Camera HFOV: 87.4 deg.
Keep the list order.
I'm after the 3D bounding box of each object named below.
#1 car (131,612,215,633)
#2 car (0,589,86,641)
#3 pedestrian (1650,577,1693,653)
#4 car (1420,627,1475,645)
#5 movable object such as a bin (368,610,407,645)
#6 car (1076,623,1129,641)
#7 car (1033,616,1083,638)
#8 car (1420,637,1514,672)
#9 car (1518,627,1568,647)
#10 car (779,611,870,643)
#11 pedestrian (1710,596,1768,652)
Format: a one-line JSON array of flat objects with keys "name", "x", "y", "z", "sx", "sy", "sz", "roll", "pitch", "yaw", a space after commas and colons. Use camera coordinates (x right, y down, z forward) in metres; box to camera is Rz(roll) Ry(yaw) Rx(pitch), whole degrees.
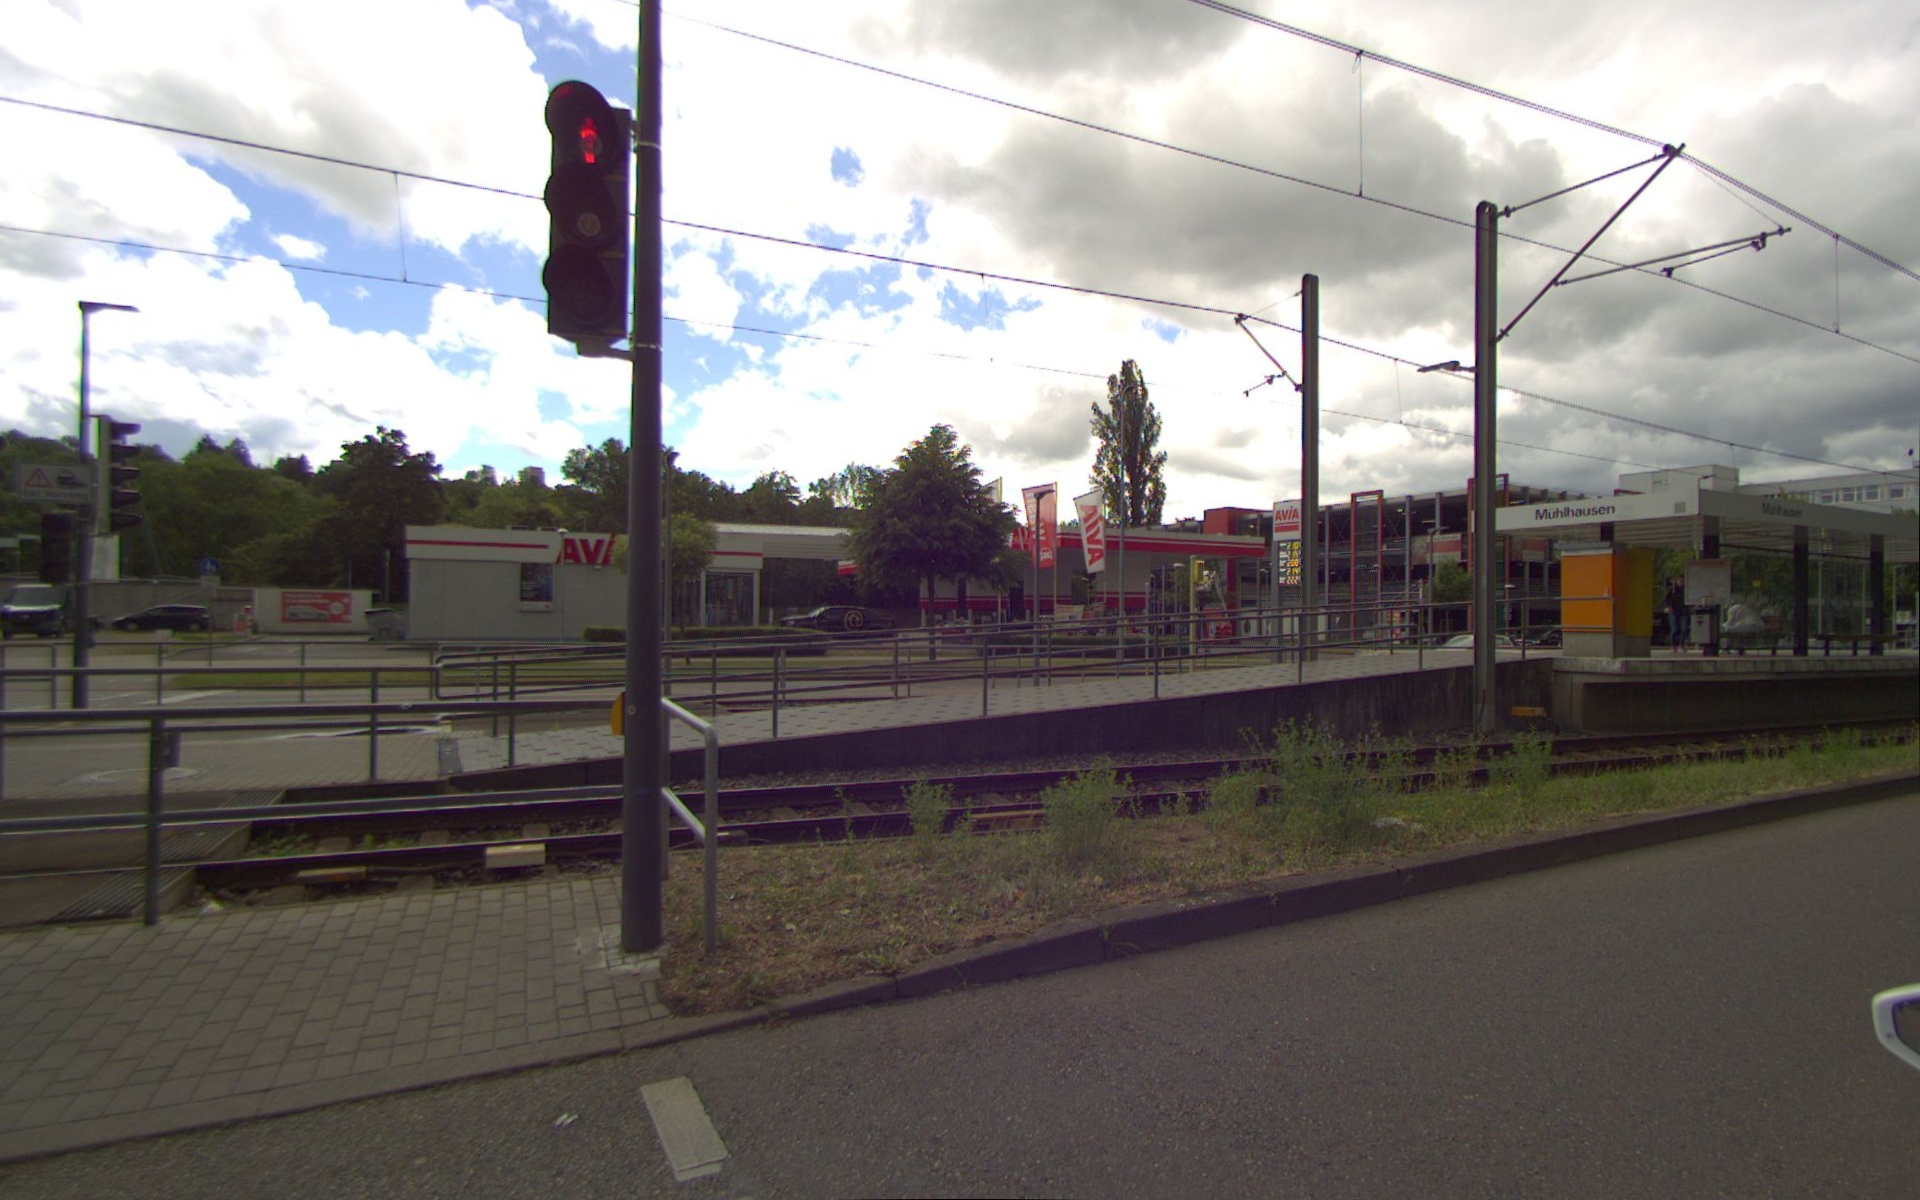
[{"name": "car", "x": -46.457, "y": 1.371, "z": 59.354, "sx": 3.857, "sy": 1.136, "sz": 1.556, "roll": 3, "pitch": -3, "yaw": -40}, {"name": "car", "x": -39.629, "y": 0.713, "z": 43.449, "sx": 1.825, "sy": 2.078, "sz": 4.348, "roll": 2, "pitch": -3, "yaw": -30}, {"name": "pedestrian", "x": 15.590, "y": 0.343, "z": 22.014, "sx": 0.579, "sy": 1.641, "sz": 0.567, "roll": 2, "pitch": -3, "yaw": -30}, {"name": "car", "x": 36.134, "y": 2.670, "z": 74.431, "sx": 3.755, "sy": 1.327, "sz": 1.842, "roll": 2, "pitch": -3, "yaw": -30}, {"name": "movable object such as a bin", "x": -25.580, "y": 1.231, "z": 44.885, "sx": 1.353, "sy": 1.514, "sz": 1.099, "roll": 1, "pitch": -3, "yaw": -24}, {"name": "car", "x": 11.557, "y": 2.605, "z": 81.673, "sx": 4.013, "sy": 1.383, "sz": 1.900, "roll": 2, "pitch": -3, "yaw": -31}, {"name": "car", "x": 8.348, "y": 2.293, "z": 85.515, "sx": 4.014, "sy": 1.775, "sz": 1.900, "roll": 2, "pitch": -3, "yaw": -32}, {"name": "car", "x": 21.270, "y": 2.263, "z": 42.118, "sx": 3.982, "sy": 1.368, "sz": 1.606, "roll": 2, "pitch": -1, "yaw": -30}, {"name": "car", "x": 46.211, "y": 2.933, "z": 79.609, "sx": 3.953, "sy": 1.559, "sz": 1.769, "roll": 2, "pitch": -3, "yaw": -30}, {"name": "car", "x": -5.918, "y": 1.188, "z": 43.909, "sx": 3.590, "sy": 1.368, "sz": 1.606, "roll": 1, "pitch": -1, "yaw": -28}, {"name": "pedestrian", "x": 16.976, "y": 0.529, "z": 21.891, "sx": 0.718, "sy": 1.205, "sz": 0.767, "roll": 1, "pitch": -1, "yaw": -26}]
